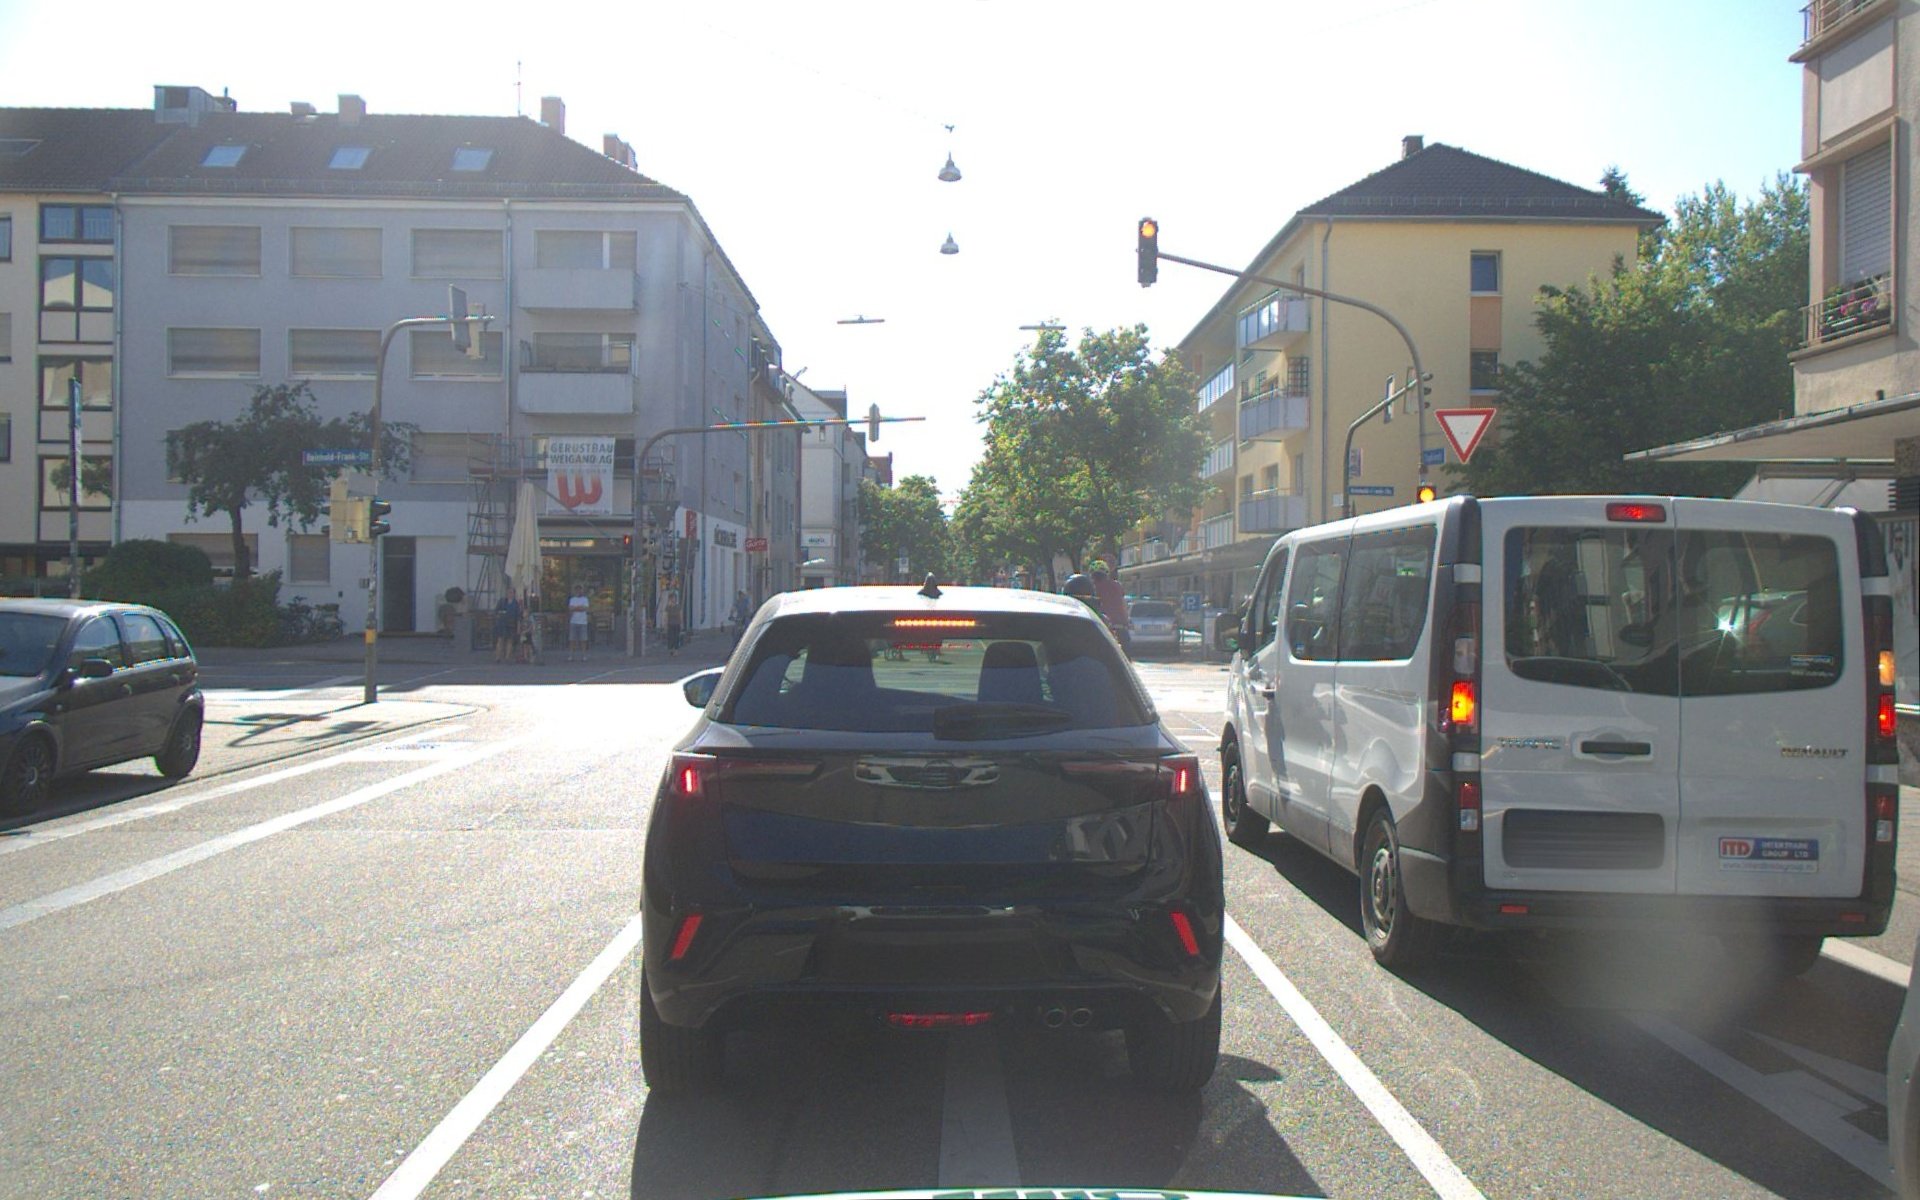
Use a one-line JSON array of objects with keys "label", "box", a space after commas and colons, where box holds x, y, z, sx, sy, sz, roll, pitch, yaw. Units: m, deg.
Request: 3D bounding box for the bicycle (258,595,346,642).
[{"label": "bicycle", "box": [-16.898, 0.474, 42.471, 2.067, 1.193, 0.735, 0, 0, -25]}]

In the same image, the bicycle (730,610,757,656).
[{"label": "bicycle", "box": [-5.732, 0.850, 43.852, 0.511, 1.167, 2.282, 0, 0, -3]}]

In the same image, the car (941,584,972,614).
[{"label": "car", "box": [-0.192, -0.068, 102.507, 1.863, 1.758, 4.000, 0, 0, 0]}]

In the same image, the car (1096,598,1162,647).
[{"label": "car", "box": [5.279, 0.690, 52.001, 1.601, 1.458, 3.999, 0, 0, -1]}]

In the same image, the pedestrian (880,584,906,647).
[{"label": "pedestrian", "box": [-1.779, 0.410, 43.668, 0.666, 1.634, 0.762, 0, 0, -3]}]

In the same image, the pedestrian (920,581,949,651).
[{"label": "pedestrian", "box": [-0.640, 0.397, 41.708, 0.692, 1.731, 0.802, 0, 0, -3]}]

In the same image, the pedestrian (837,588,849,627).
[{"label": "pedestrian", "box": [-5.223, 0.342, 73.646, 0.478, 1.719, 0.588, 0, 0, -1]}]

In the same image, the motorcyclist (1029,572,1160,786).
[{"label": "motorcyclist", "box": [0.985, 0.563, 12.380, 0.846, 1.528, 1.159, 0, 0, -2]}]

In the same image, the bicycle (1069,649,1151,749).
[{"label": "bicycle", "box": [1.576, 1.027, 17.690, 0.565, 0.920, 2.300, 0, 0, -3]}]

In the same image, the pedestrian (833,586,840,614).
[{"label": "pedestrian", "box": [-7.557, 0.007, 101.408, 0.394, 1.704, 0.417, 0, 0, -1]}]

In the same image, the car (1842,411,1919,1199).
[{"label": "car", "box": [2.997, 0.576, 1.239, 1.800, 1.901, 4.993, 0, 0, -3]}]

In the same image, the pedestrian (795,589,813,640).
[{"label": "pedestrian", "box": [-5.259, 0.482, 55.700, 0.558, 1.719, 0.588, 0, 0, -1]}]

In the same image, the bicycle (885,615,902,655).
[{"label": "bicycle", "box": [-1.773, 0.922, 43.839, 0.434, 1.010, 2.068, 0, 0, -3]}]

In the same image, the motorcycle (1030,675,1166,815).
[{"label": "motorcycle", "box": [0.982, 1.033, 12.221, 0.808, 0.860, 1.884, 0, 0, -1]}]

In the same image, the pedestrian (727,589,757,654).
[{"label": "pedestrian", "box": [-5.730, 0.556, 43.487, 0.692, 1.707, 0.802, 0, 0, -3]}]

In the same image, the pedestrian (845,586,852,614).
[{"label": "pedestrian", "box": [-6.847, 0.028, 101.170, 0.394, 1.704, 0.417, 0, 0, -1]}]

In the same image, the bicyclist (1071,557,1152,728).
[{"label": "bicyclist", "box": [1.596, 0.436, 17.614, 0.675, 1.742, 1.413, 0, 0, -3]}]

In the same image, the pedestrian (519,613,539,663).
[{"label": "pedestrian", "box": [-9.715, 0.858, 37.250, 0.348, 1.111, 0.461, 0, 0, -4]}]

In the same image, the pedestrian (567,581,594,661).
[{"label": "pedestrian", "box": [-8.695, 0.481, 37.901, 0.550, 1.806, 0.582, 1, 0, -9]}]

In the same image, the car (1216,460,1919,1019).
[{"label": "car", "box": [2.713, 0.508, 8.530, 1.953, 2.014, 4.895, 1, 0, 0]}]

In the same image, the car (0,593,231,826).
[{"label": "car", "box": [-7.070, 0.710, 12.379, 1.584, 1.450, 3.709, 3, 0, -1]}]

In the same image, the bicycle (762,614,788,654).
[{"label": "bicycle", "box": [-4.901, 0.886, 43.872, 0.511, 1.010, 2.338, 0, 0, -3]}]

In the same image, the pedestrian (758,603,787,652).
[{"label": "pedestrian", "box": [-4.920, 0.727, 43.493, 0.692, 1.275, 0.802, 0, 0, -3]}]

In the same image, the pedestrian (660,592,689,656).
[{"label": "pedestrian", "box": [-6.989, 0.584, 40.519, 0.605, 1.547, 0.724, 0, 0, -4]}]

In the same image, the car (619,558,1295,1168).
[{"label": "car", "box": [-0.085, 0.669, 6.268, 1.735, 1.557, 3.998, 0, 0, -3]}]

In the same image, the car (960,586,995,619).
[{"label": "car", "box": [0.939, 0.136, 91.650, 1.863, 1.758, 4.073, 0, 0, 0]}]

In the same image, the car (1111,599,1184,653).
[{"label": "car", "box": [5.320, 0.707, 47.303, 1.601, 1.458, 3.956, 0, 0, -1]}]

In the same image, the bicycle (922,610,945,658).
[{"label": "bicycle", "box": [-0.683, 0.852, 41.862, 0.511, 1.167, 2.169, 0, 0, -3]}]

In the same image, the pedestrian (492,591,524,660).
[{"label": "pedestrian", "box": [-10.186, 0.566, 37.264, 0.573, 1.547, 0.649, 0, 0, -4]}]

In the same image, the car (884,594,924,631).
[{"label": "car", "box": [-2.713, 0.589, 80.747, 1.787, 1.758, 4.000, 0, 0, 1]}]
